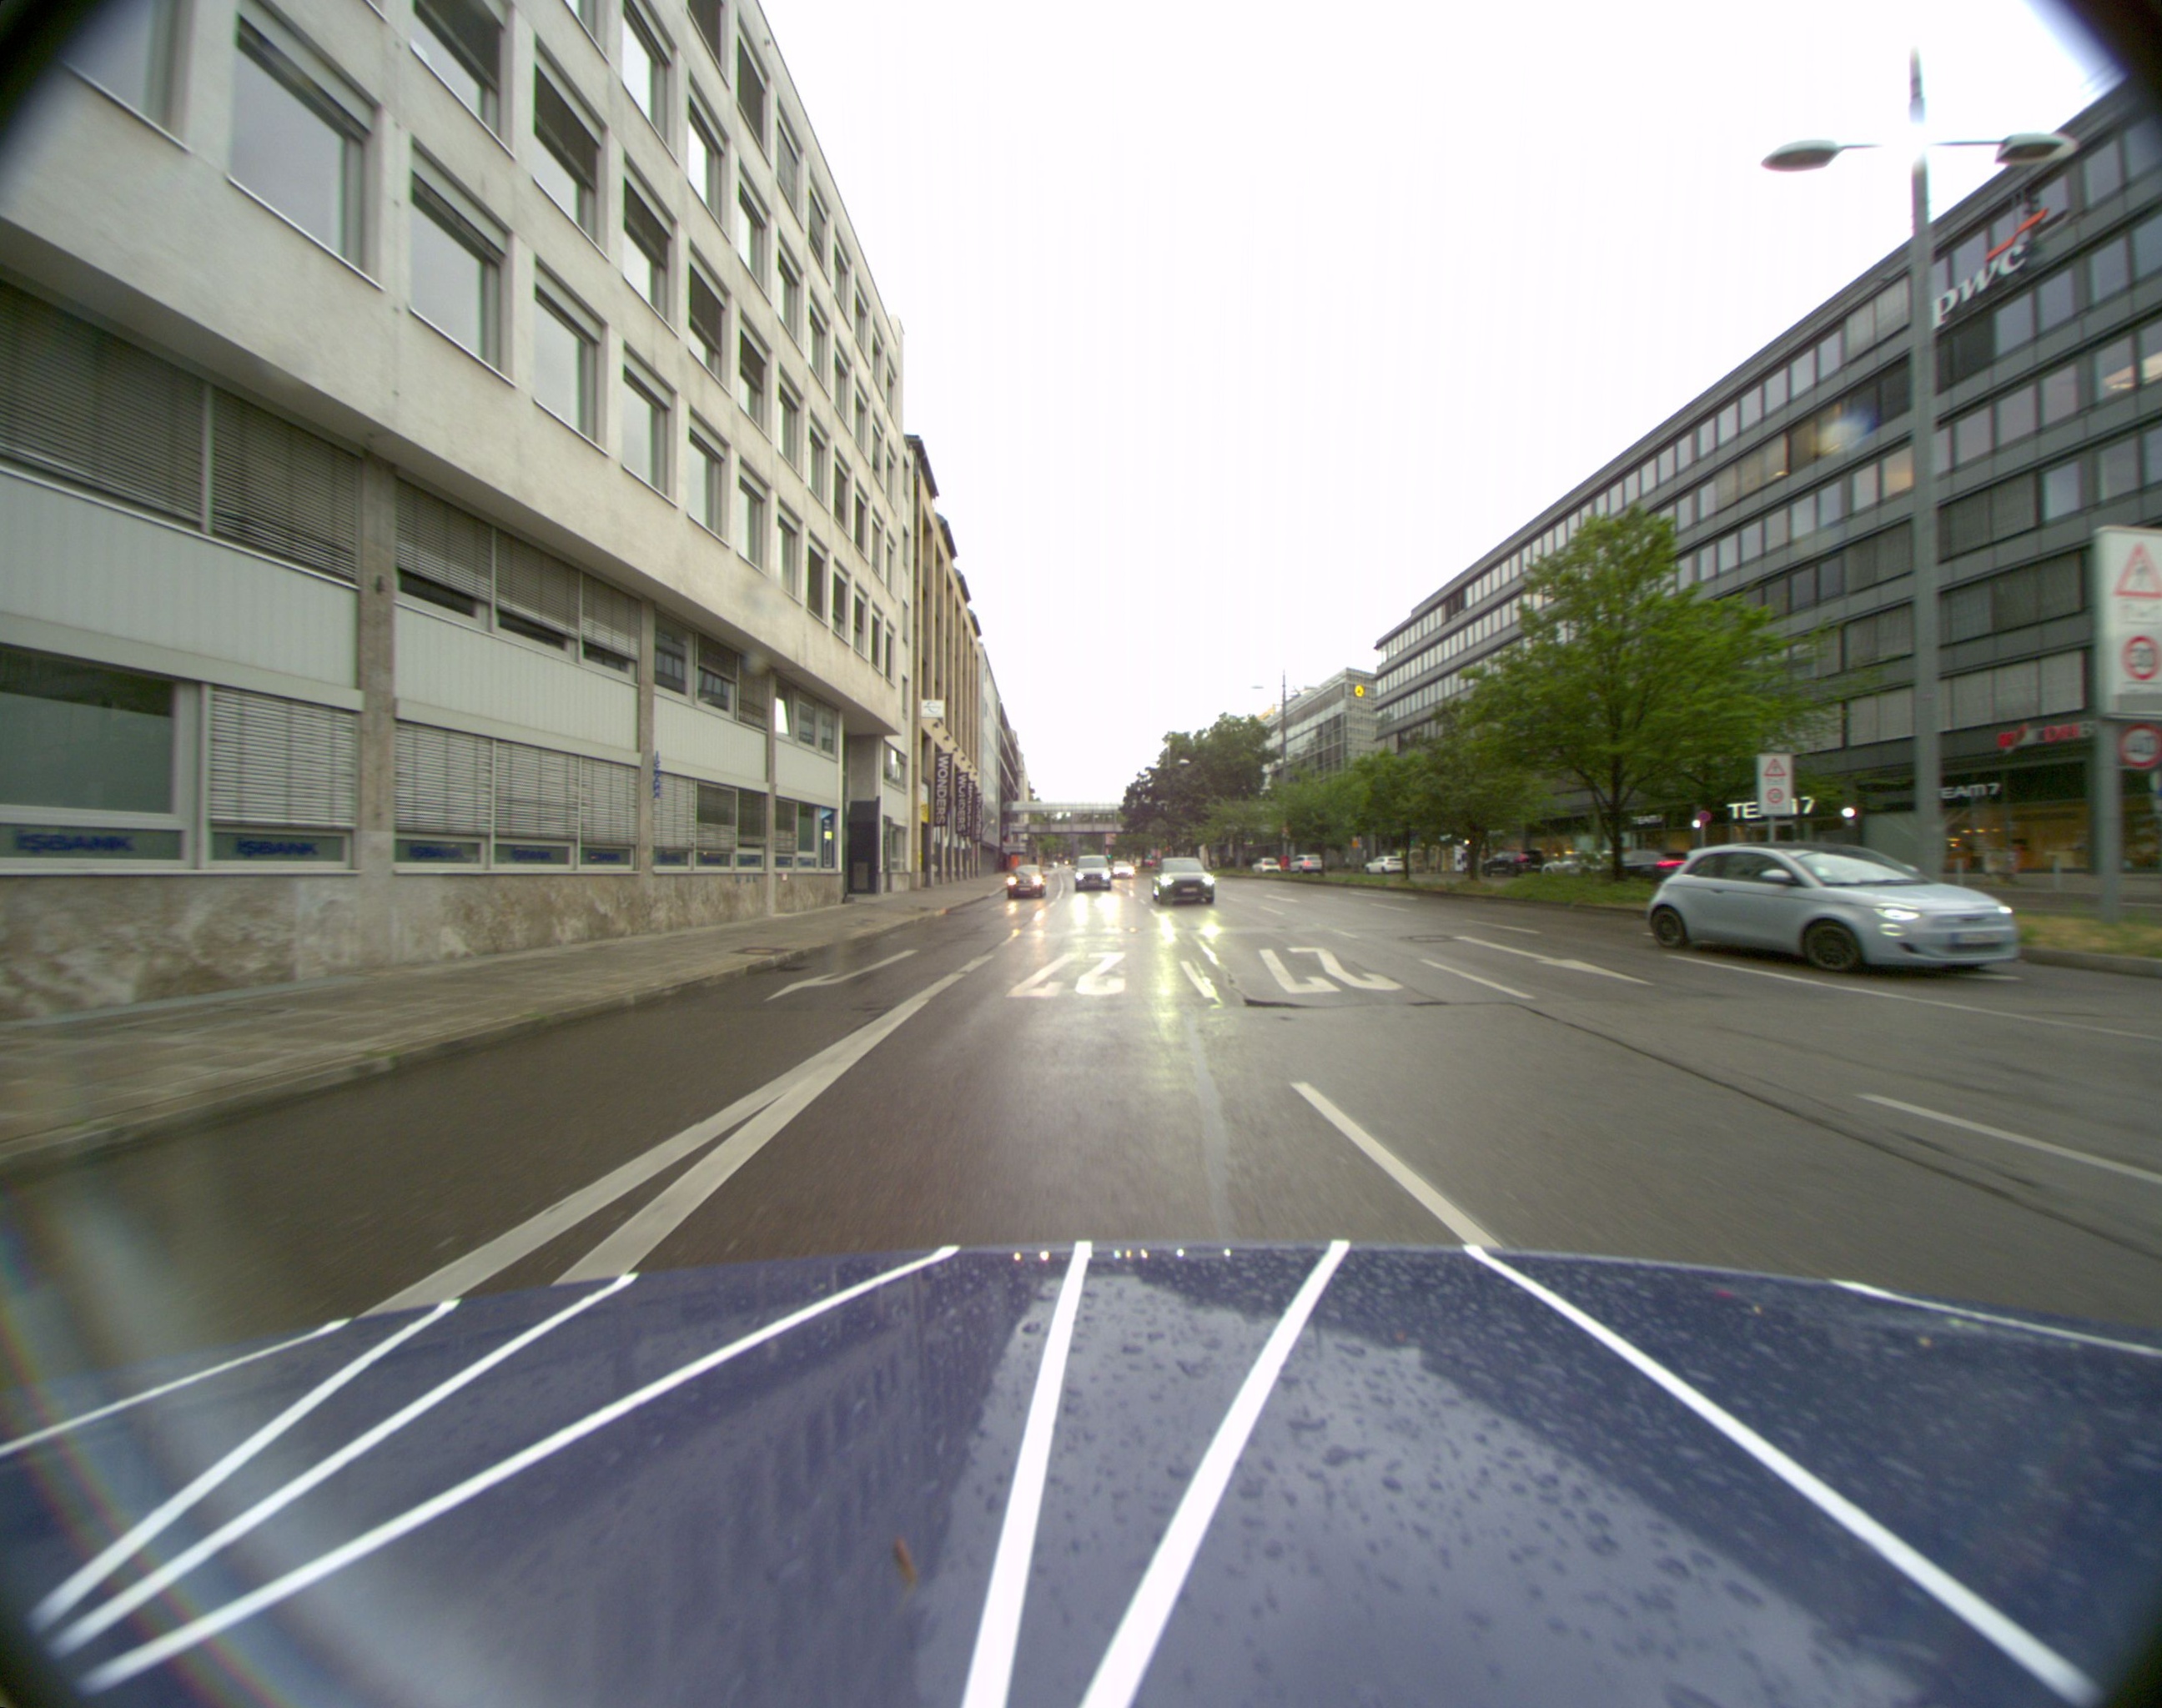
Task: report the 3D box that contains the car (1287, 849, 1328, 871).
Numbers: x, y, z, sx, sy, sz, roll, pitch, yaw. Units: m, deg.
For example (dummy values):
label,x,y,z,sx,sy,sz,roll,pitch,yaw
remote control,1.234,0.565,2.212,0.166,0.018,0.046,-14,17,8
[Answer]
label,x,y,z,sx,sy,sz,roll,pitch,yaw
car,18.422,0.475,62.000,1.742,1.717,4.492,-2,0,-4

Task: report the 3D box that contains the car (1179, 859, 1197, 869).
label,x,y,z,sx,sy,sz,roll,pitch,yaw
car,16.897,1.605,120.147,1.814,1.467,4.300,-1,0,-4

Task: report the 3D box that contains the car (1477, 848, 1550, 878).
label,x,y,z,sx,sy,sz,roll,pitch,yaw
car,25.425,0.500,44.844,1.813,1.651,4.310,-2,0,0

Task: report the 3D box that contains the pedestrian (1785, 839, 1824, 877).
label,x,y,z,sx,sy,sz,roll,pitch,yaw
pedestrian,31.603,0.157,33.205,0.786,1.628,0.965,-1,0,-2

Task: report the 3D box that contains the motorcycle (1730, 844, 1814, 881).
label,x,y,z,sx,sy,sz,roll,pitch,yaw
motorcycle,28.199,0.357,31.047,0.860,1.386,2.364,-5,2,-28

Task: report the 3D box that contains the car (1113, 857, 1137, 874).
label,x,y,z,sx,sy,sz,roll,pitch,yaw
car,3.725,0.972,65.436,1.853,1.434,3.870,-1,0,1

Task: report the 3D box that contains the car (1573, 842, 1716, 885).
label,x,y,z,sx,sy,sz,roll,pitch,yaw
car,22.010,0.361,29.961,2.000,1.535,4.480,-1,0,-6

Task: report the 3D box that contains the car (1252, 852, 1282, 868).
label,x,y,z,sx,sy,sz,roll,pitch,yaw
car,17.562,0.562,71.853,1.687,1.423,4.082,-1,0,-3

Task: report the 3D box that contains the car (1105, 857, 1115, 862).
label,x,y,z,sx,sy,sz,roll,pitch,yaw
car,6.712,1.266,177.505,1.732,1.303,4.075,-2,0,-5

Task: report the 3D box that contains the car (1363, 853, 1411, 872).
label,x,y,z,sx,sy,sz,roll,pitch,yaw
car,24.663,0.700,61.370,1.814,1.436,4.308,-2,0,-5

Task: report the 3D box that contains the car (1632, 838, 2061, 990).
label,x,y,z,sx,sy,sz,roll,pitch,yaw
car,9.439,0.640,9.874,1.788,1.564,3.690,-1,0,-2

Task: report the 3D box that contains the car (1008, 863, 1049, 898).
label,x,y,z,sx,sy,sz,roll,pitch,yaw
car,-2.345,1.152,34.662,1.667,1.464,3.483,-1,0,-2

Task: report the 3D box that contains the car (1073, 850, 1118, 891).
label,x,y,z,sx,sy,sz,roll,pitch,yaw
car,0.708,0.848,40.862,2.163,2.014,5.041,-1,0,-1

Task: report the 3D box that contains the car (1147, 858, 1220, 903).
label,x,y,z,sx,sy,sz,roll,pitch,yaw
car,3.493,0.860,26.564,1.941,1.426,4.287,-1,0,0

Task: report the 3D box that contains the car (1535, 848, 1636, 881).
label,x,y,z,sx,sy,sz,roll,pitch,yaw
car,25.530,0.505,38.700,1.813,1.476,4.772,-4,0,-1
